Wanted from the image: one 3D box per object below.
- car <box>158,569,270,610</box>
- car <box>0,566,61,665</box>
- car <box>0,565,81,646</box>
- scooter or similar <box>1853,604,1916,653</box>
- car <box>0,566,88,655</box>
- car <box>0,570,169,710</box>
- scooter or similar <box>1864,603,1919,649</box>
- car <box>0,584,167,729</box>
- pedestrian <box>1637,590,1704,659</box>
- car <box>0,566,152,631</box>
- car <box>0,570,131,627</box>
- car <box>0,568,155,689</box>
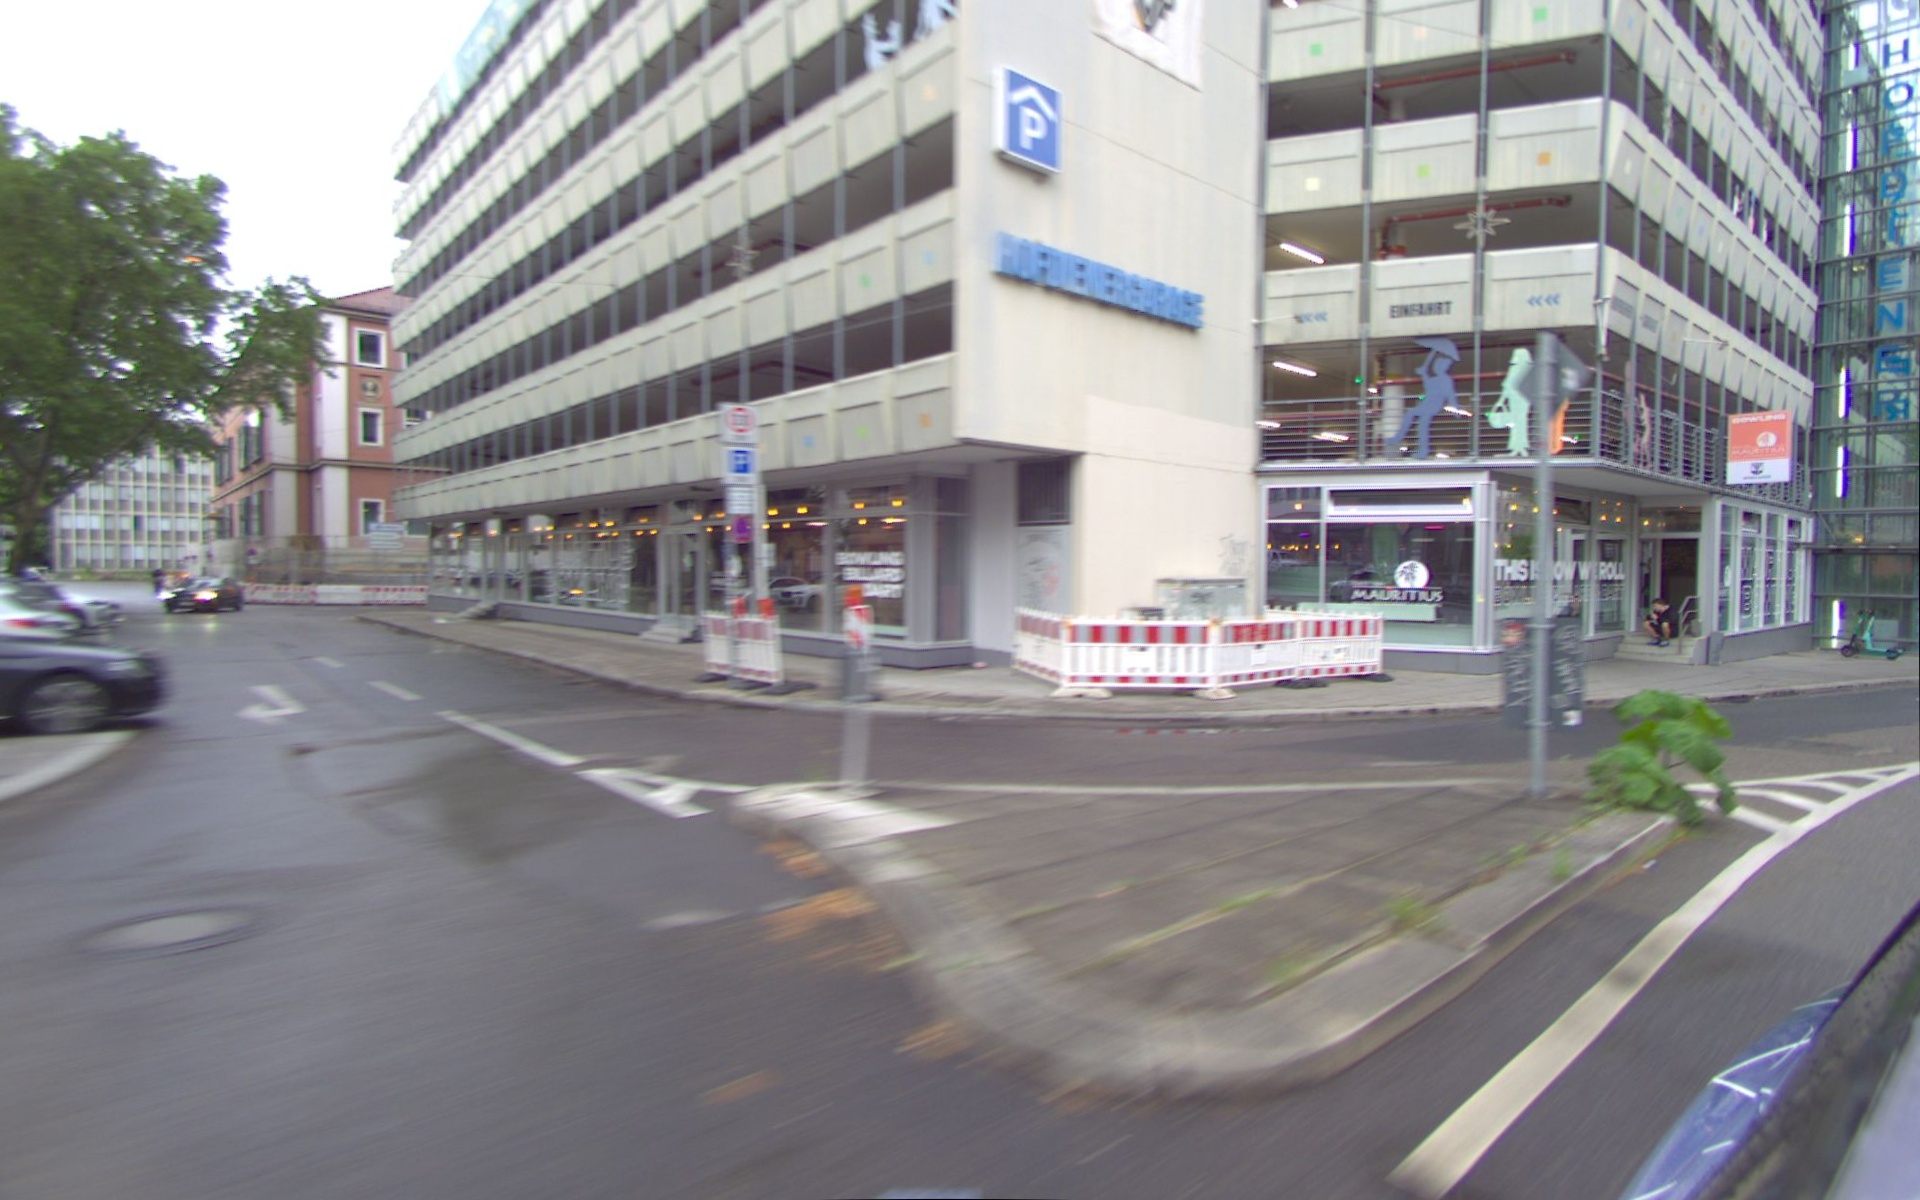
[{"bbox_3d":[-31.577,-0.439,43.025,1.940,1.616,4.914,0,0,-11],"label":"car"},{"bbox_3d":[-17.590,0.261,16.115,4.819,1.616,1.978,-1,0,-41],"label":"car"},{"bbox_3d":[-20.817,0.120,20.266,4.819,1.616,1.978,-1,0,-41],"label":"car"},{"bbox_3d":[23.966,0.730,26.241,1.067,1.188,0.461,3,1,28],"label":"scooter or similar"},{"bbox_3d":[-19.013,0.200,18.349,4.819,1.616,1.978,-1,0,-41],"label":"car"},{"bbox_3d":[-12.301,0.467,12.071,4.470,1.616,1.978,-1,0,-40],"label":"car"},{"bbox_3d":[25.521,0.704,27.658,1.067,1.188,0.461,3,1,28],"label":"scooter or similar"},{"bbox_3d":[-10.758,0.559,9.960,4.616,1.415,1.978,-1,1,-40],"label":"car"},{"bbox_3d":[15.380,0.510,21.912,1.014,1.400,0.904,0,4,-41],"label":"pedestrian"},{"bbox_3d":[-24.224,-0.039,26.392,4.813,1.616,1.980,-1,0,-37],"label":"car"},{"bbox_3d":[-27.279,-0.052,29.462,4.817,1.616,1.979,-1,0,-39],"label":"car"},{"bbox_3d":[-13.993,0.385,13.686,4.819,1.616,1.978,-1,0,-41],"label":"car"}]
